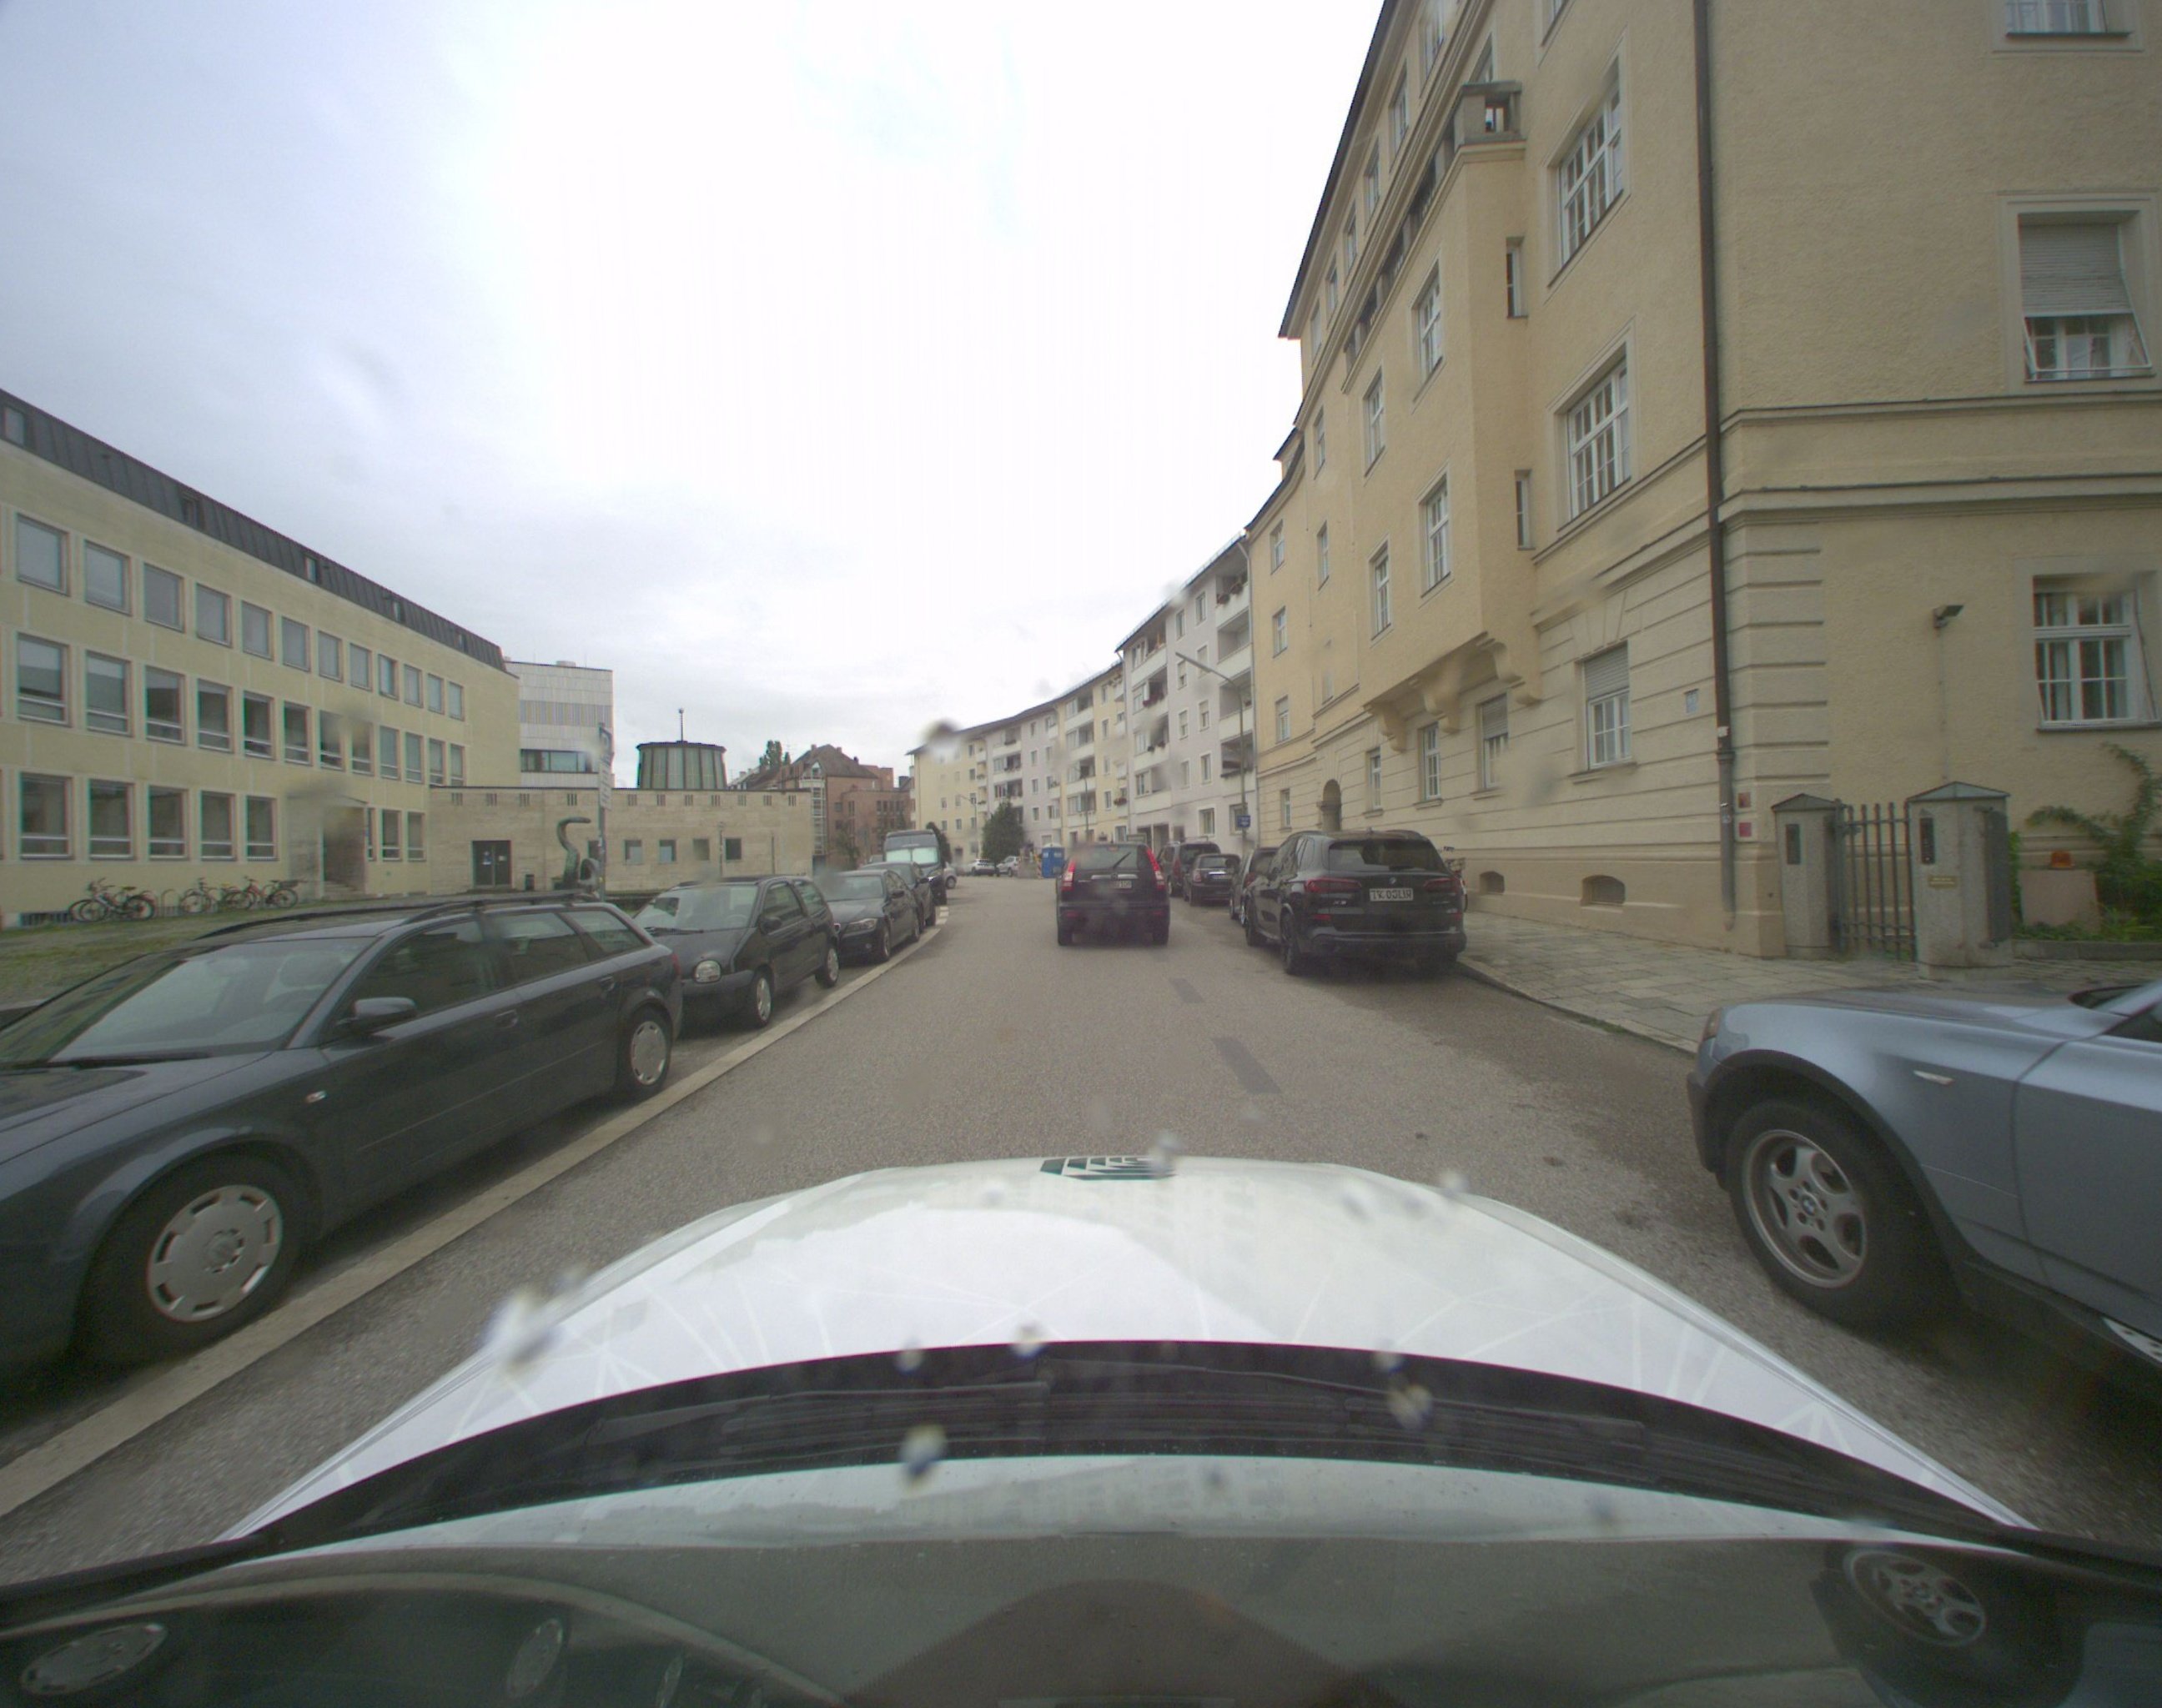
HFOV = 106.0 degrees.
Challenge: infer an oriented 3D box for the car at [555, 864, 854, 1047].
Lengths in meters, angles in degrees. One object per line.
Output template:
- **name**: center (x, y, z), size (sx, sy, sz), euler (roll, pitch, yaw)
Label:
- **car**: center (-3.767, 0.911, 8.813), size (1.652, 1.453, 3.311), euler (-3, 0, -1)

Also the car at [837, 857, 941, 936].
- **car**: center (-4.134, 0.862, 17.924), size (1.667, 1.502, 2.973), euler (-3, 0, -4)

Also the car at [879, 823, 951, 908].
- **car**: center (-5.939, 0.367, 29.133), size (2.166, 2.641, 5.992), euler (-3, 0, -12)

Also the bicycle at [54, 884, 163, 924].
- **bicycle**: center (-27.478, 1.387, 23.037), size (1.950, 1.014, 0.622), euler (-2, 0, -15)

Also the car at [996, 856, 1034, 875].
- **car**: center (-5.304, 0.892, 65.201), size (1.733, 1.483, 3.966), euler (-1, 0, -26)

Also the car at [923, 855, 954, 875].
- **car**: center (-14.446, 1.095, 82.199), size (1.736, 1.878, 3.960), euler (-1, 0, -32)

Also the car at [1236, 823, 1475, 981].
- **car**: center (3.460, 0.536, 11.323), size (1.861, 1.717, 4.868), euler (0, 0, 2)

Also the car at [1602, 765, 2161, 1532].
- **car**: center (3.133, 0.606, 1.377), size (1.716, 1.634, 4.459), euler (-2, 0, 2)

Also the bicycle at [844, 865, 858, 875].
- **bicycle**: center (-33.652, 2.344, 119.103), size (1.764, 1.288, 0.548), euler (-1, 0, -29)

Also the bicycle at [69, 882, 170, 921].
- **bicycle**: center (-28.032, 1.376, 23.768), size (1.946, 1.014, 0.624), euler (-2, 0, -9)

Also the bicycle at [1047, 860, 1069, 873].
- **bicycle**: center (-2.032, 1.070, 71.653), size (1.872, 1.091, 0.641), euler (-1, 0, -20)

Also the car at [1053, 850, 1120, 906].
- **car**: center (0.079, 0.670, 24.584), size (1.676, 1.481, 4.080), euler (-2, 0, -4)

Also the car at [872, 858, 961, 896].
- **car**: center (-8.271, 1.135, 41.229), size (1.663, 1.481, 4.113), euler (-7, -1, 41)

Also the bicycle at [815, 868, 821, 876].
- **bicycle**: center (-41.631, 2.813, 128.941), size (0.554, 1.288, 1.744), euler (-1, 0, -28)

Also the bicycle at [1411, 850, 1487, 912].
- **bicycle**: center (7.161, 0.494, 15.947), size (0.577, 1.083, 1.954), euler (-4, 0, 2)

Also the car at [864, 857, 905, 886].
- **car**: center (-12.664, 1.123, 52.314), size (1.687, 1.707, 4.476), euler (-1, 0, -25)

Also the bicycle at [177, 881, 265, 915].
- **bicycle**: center (-28.331, 1.429, 26.857), size (1.949, 1.014, 0.623), euler (-2, 0, -13)

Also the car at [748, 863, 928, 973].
- **car**: center (-3.838, 0.923, 13.707), size (1.795, 1.406, 4.451), euler (-3, 0, -3)

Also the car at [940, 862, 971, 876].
- **car**: center (-12.084, 1.407, 78.331), size (1.709, 1.236, 3.565), euler (-1, 0, -32)

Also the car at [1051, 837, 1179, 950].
- **car**: center (0.474, 0.603, 14.282), size (1.885, 1.647, 3.989), euler (-2, 0, -1)

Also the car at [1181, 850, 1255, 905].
- **car**: center (3.855, 0.625, 23.410), size (1.701, 1.447, 3.833), euler (0, 0, 3)

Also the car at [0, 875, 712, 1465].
- **car**: center (-3.761, 0.942, 4.040), size (1.749, 1.453, 4.396), euler (-3, 0, 0)

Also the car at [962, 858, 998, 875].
- **car**: center (-9.222, 1.114, 74.060), size (1.736, 1.483, 3.960), euler (-1, 0, -32)

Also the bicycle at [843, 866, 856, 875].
- **bicycle**: center (-33.962, 2.380, 119.688), size (1.764, 1.288, 0.548), euler (-1, 0, -29)

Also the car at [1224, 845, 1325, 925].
- **car**: center (3.933, 0.591, 16.966), size (1.528, 1.524, 3.113), euler (0, 0, 3)

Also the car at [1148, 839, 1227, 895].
- **car**: center (3.625, 0.414, 28.372), size (1.775, 1.807, 4.266), euler (0, 0, -6)

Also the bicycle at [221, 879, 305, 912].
- **bicycle**: center (-28.391, 1.433, 28.280), size (1.953, 1.014, 0.621), euler (-2, 0, -20)

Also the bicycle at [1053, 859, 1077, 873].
- **bicycle**: center (-1.358, 1.008, 68.008), size (1.872, 1.091, 0.562), euler (-1, 0, -20)
